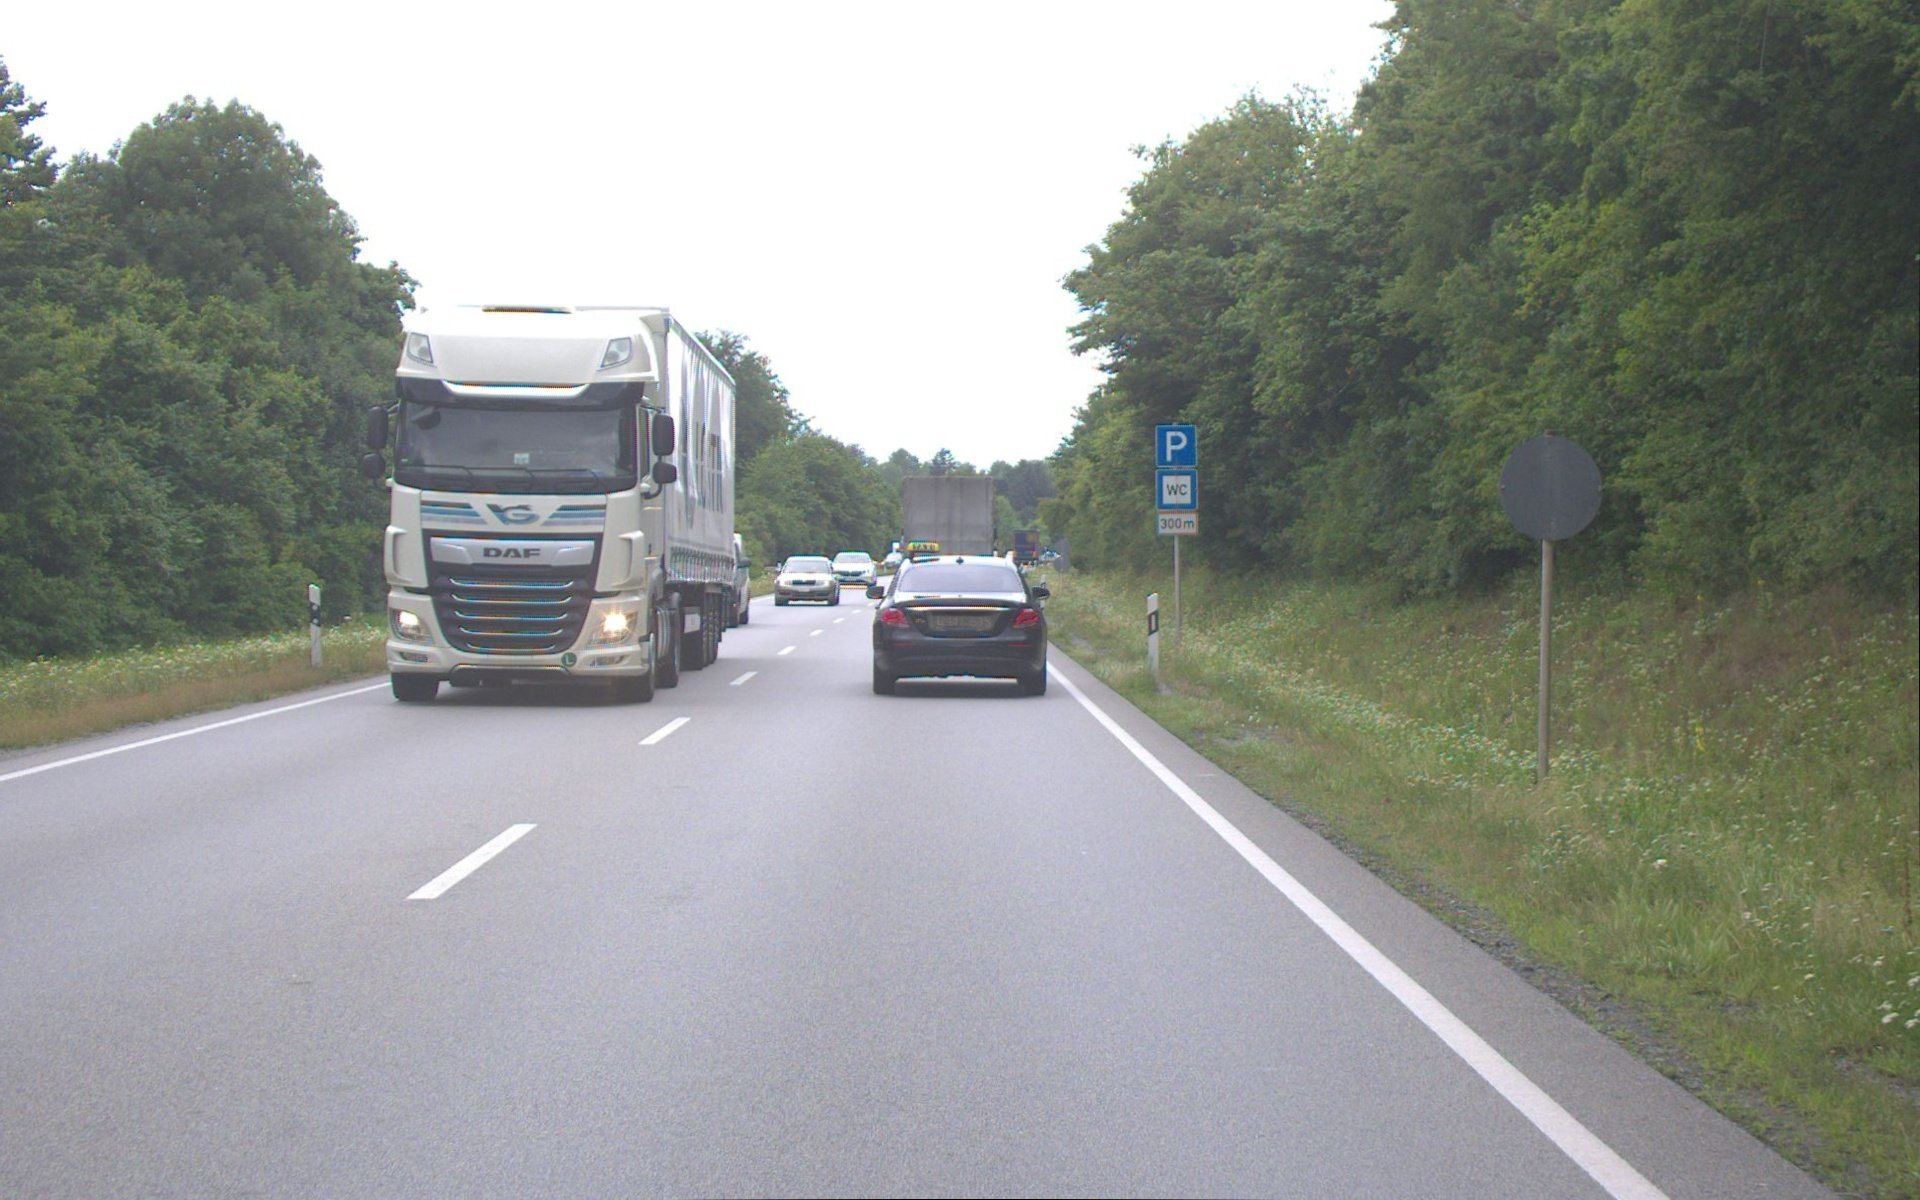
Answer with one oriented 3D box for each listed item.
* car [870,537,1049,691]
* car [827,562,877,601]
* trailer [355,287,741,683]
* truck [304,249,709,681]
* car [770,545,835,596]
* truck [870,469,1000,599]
[{"bbox_3d":[-0.057,0.125,37.206,1.791,1.547,4.000,1,1,-2],"label":"car"},{"bbox_3d":[-4.553,-0.795,145.666,1.964,1.568,5.452,1,1,0],"label":"car"},{"bbox_3d":[-4.721,-1.267,42.717,3.203,4.053,14.273,1,1,-1],"label":"trailer"},{"bbox_3d":[-4.654,-1.334,37.432,3.189,4.048,9.576,1,1,-1],"label":"truck"},{"bbox_3d":[-4.580,-0.879,100.411,1.725,1.429,4.503,1,1,-1],"label":"car"},{"bbox_3d":[-0.637,-1.927,102.806,3.281,3.599,11.399,1,1,2],"label":"truck"}]
